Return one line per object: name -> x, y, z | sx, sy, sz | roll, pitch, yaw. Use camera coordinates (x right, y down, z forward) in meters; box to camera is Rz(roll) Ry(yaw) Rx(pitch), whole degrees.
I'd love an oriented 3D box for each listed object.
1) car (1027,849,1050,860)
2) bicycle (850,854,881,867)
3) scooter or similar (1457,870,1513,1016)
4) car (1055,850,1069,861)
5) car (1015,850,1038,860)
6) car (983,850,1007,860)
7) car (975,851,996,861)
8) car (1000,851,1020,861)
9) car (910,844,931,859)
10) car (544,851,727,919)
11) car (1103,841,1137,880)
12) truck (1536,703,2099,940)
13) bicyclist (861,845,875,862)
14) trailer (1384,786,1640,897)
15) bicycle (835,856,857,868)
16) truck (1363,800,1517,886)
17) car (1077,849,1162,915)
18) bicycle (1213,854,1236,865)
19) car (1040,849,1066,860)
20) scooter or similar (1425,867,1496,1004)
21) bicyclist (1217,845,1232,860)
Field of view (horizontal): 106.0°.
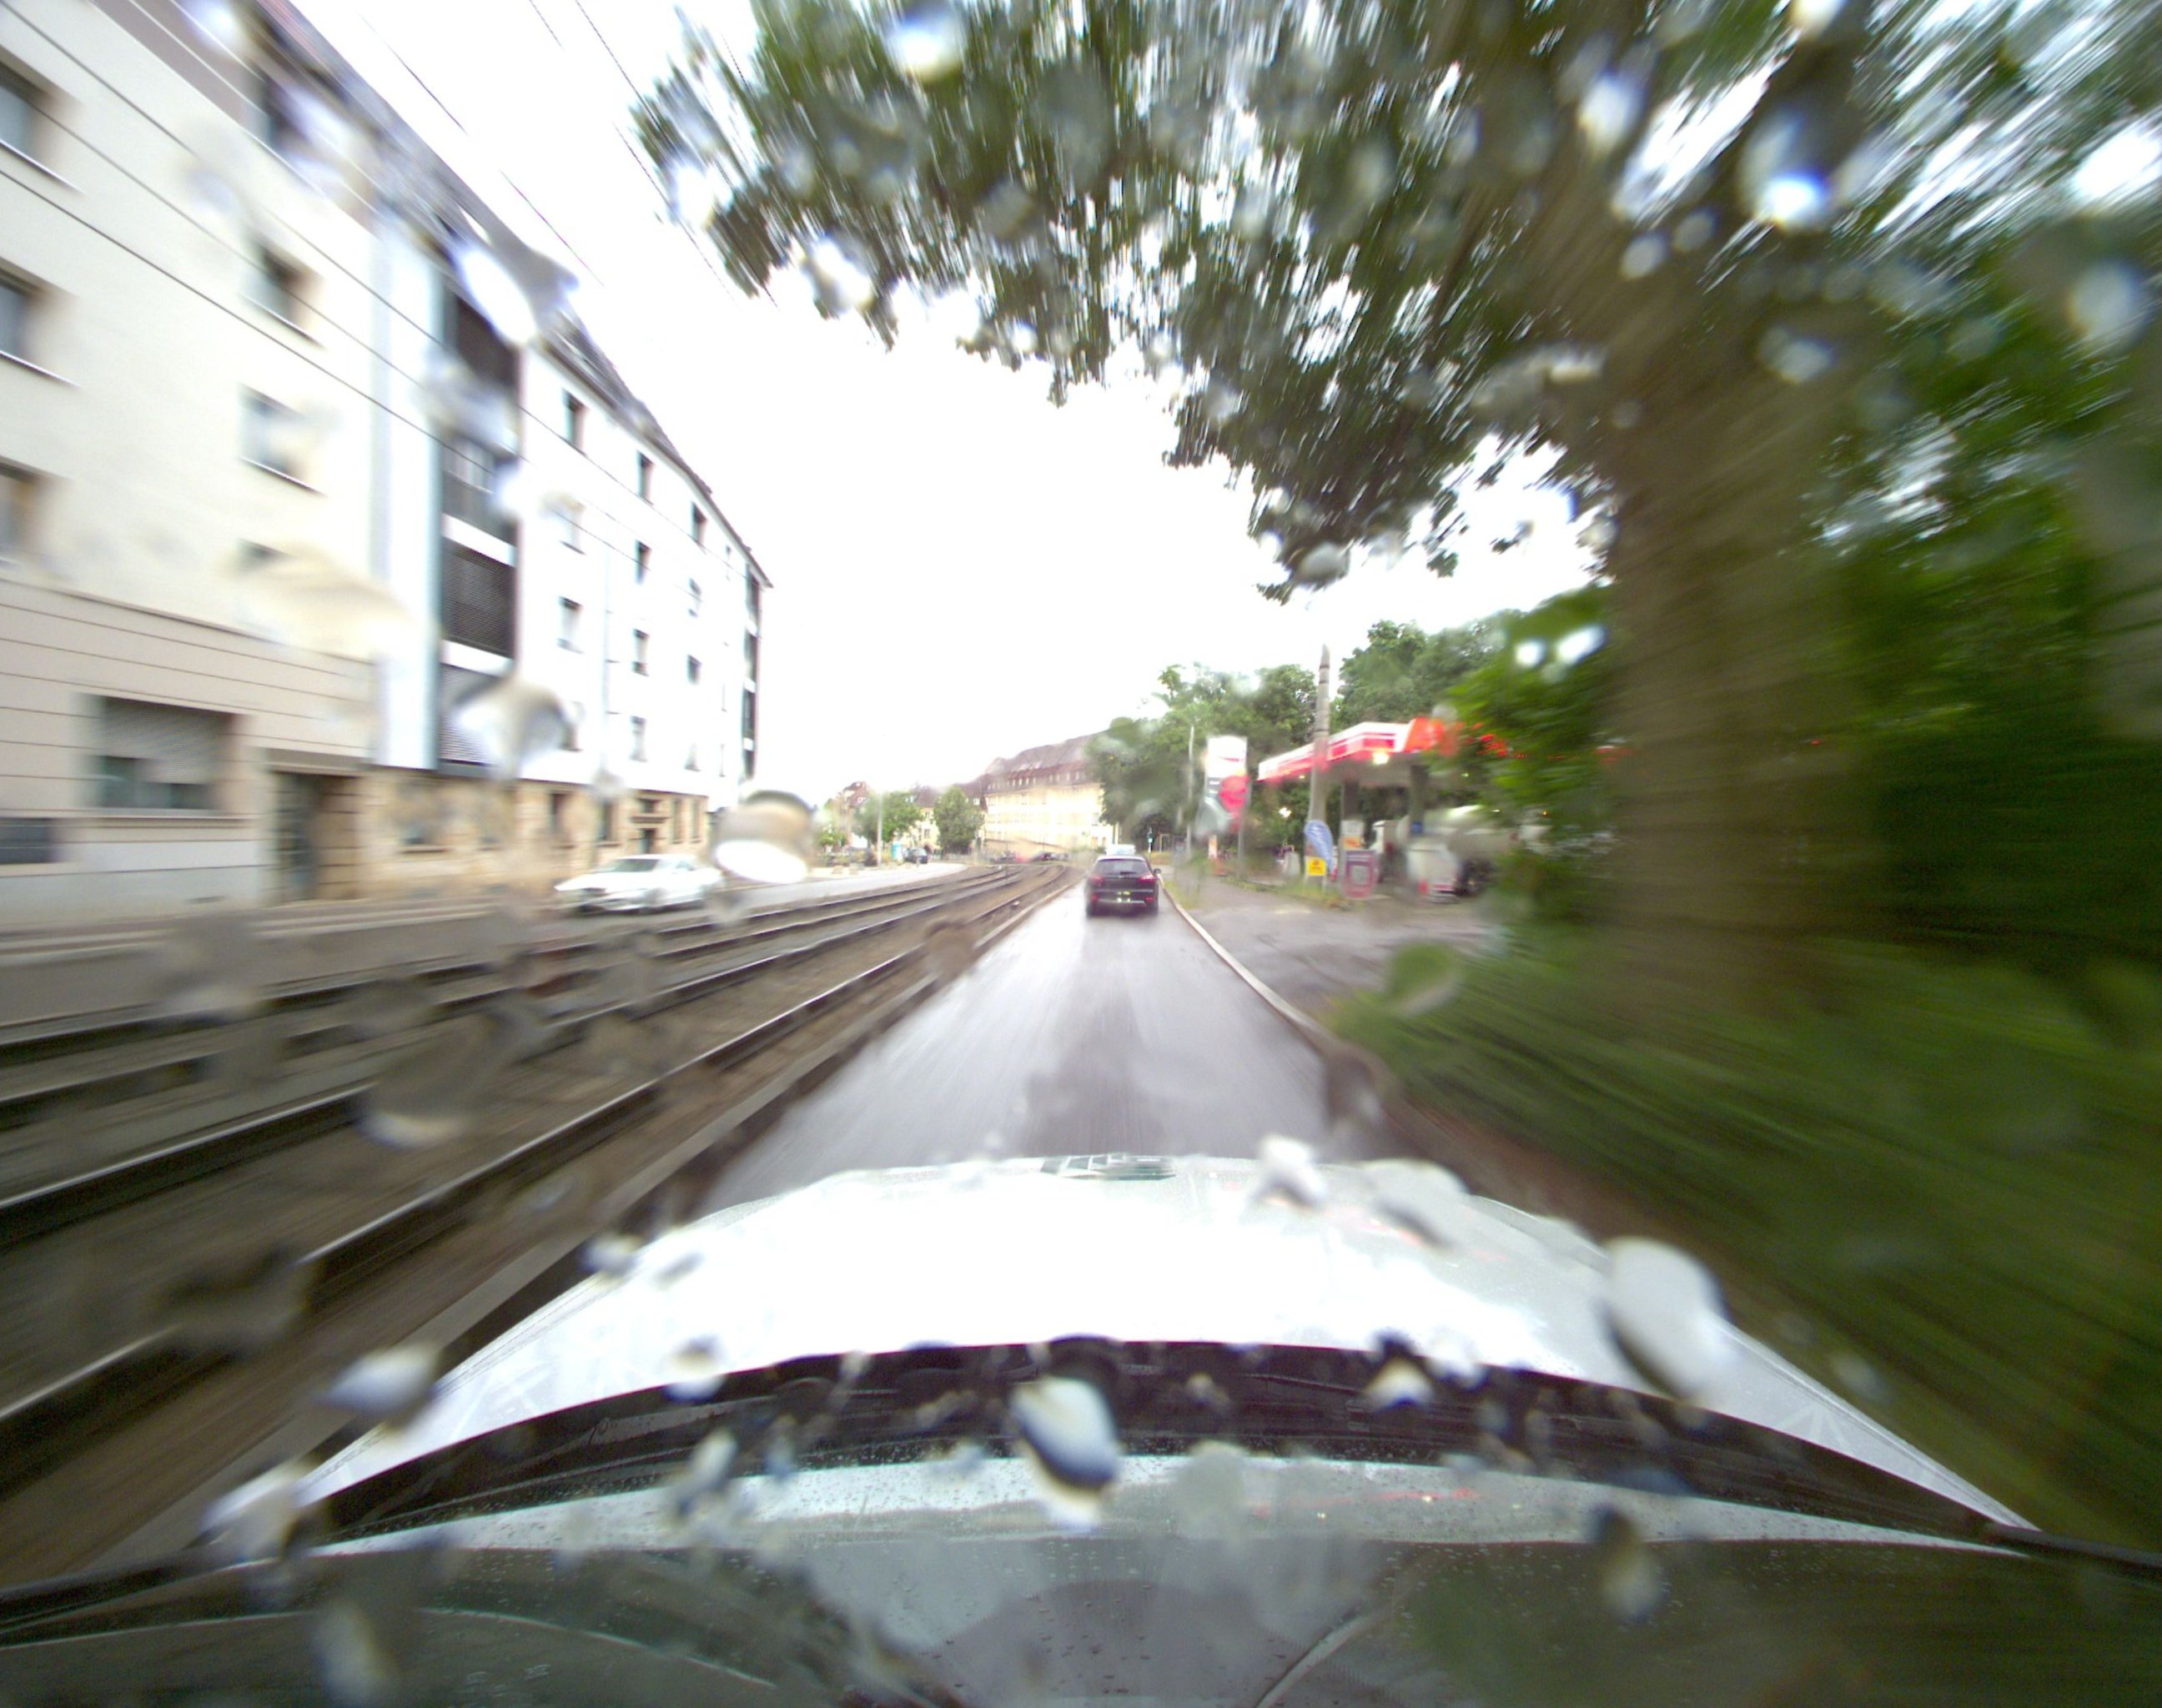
car -> -6.577, 0.064, 125.446 | 1.592, 1.542, 3.958 | 2, 0, -34
bicycle -> -16.283, 0.467, 61.621 | 2.115, 0.943, 0.806 | 0, 0, -37
scooter or similar -> 3.747, 0.778, 7.599 | 0.370, 1.234, 1.378 | 0, -2, 23
car -> -2.744, 0.189, 116.792 | 1.656, 1.476, 3.633 | 1, 0, -8
car -> -8.701, 0.116, 129.838 | 2.008, 1.542, 3.957 | 2, 0, -35
car -> -14.599, 0.159, 137.945 | 2.010, 1.542, 3.953 | 2, 0, -41
car -> -16.697, 0.322, 142.050 | 2.007, 1.542, 3.960 | 2, 0, -32
car -> -11.776, 0.347, 134.494 | 2.004, 1.542, 3.965 | 0, 0, -27
car -> -17.279, -0.251, 87.991 | 1.993, 1.542, 3.988 | 1, 0, -9
car -> -10.926, 0.697, 20.472 | 1.793, 1.482, 4.842 | 1, 0, 2
car -> 2.113, 0.362, 44.960 | 1.734, 2.014, 3.905 | 1, 0, 2
truck -> 14.428, -0.536, 18.000 | 3.908, 3.677, 10.392 | 0, 0, 6
bicyclist -> -16.143, -0.033, 61.677 | 0.777, 1.313, 0.782 | 0, 0, -36
trailer -> 15.846, -0.448, 31.683 | 3.884, 3.506, 11.788 | 0, 1, 1
bicycle -> -21.229, 0.717, 73.603 | 1.808, 1.061, 0.570 | 1, 0, -2
truck -> 15.913, -0.480, 36.849 | 3.891, 3.516, 6.977 | 0, 0, -1
car -> 0.996, 0.666, 21.105 | 1.926, 1.453, 4.320 | 2, 0, 2
bicycle -> 11.682, 0.454, 66.299 | 0.740, 0.868, 1.978 | 0, 0, -30
car -> -4.160, 0.028, 120.486 | 2.008, 1.542, 3.958 | 2, 0, -34
scooter or similar -> 3.644, 0.743, 7.882 | 0.369, 1.200, 1.246 | 1, -2, 14
bicyclist -> 11.682, -0.100, 66.267 | 0.740, 1.179, 1.067 | 0, 0, -30
